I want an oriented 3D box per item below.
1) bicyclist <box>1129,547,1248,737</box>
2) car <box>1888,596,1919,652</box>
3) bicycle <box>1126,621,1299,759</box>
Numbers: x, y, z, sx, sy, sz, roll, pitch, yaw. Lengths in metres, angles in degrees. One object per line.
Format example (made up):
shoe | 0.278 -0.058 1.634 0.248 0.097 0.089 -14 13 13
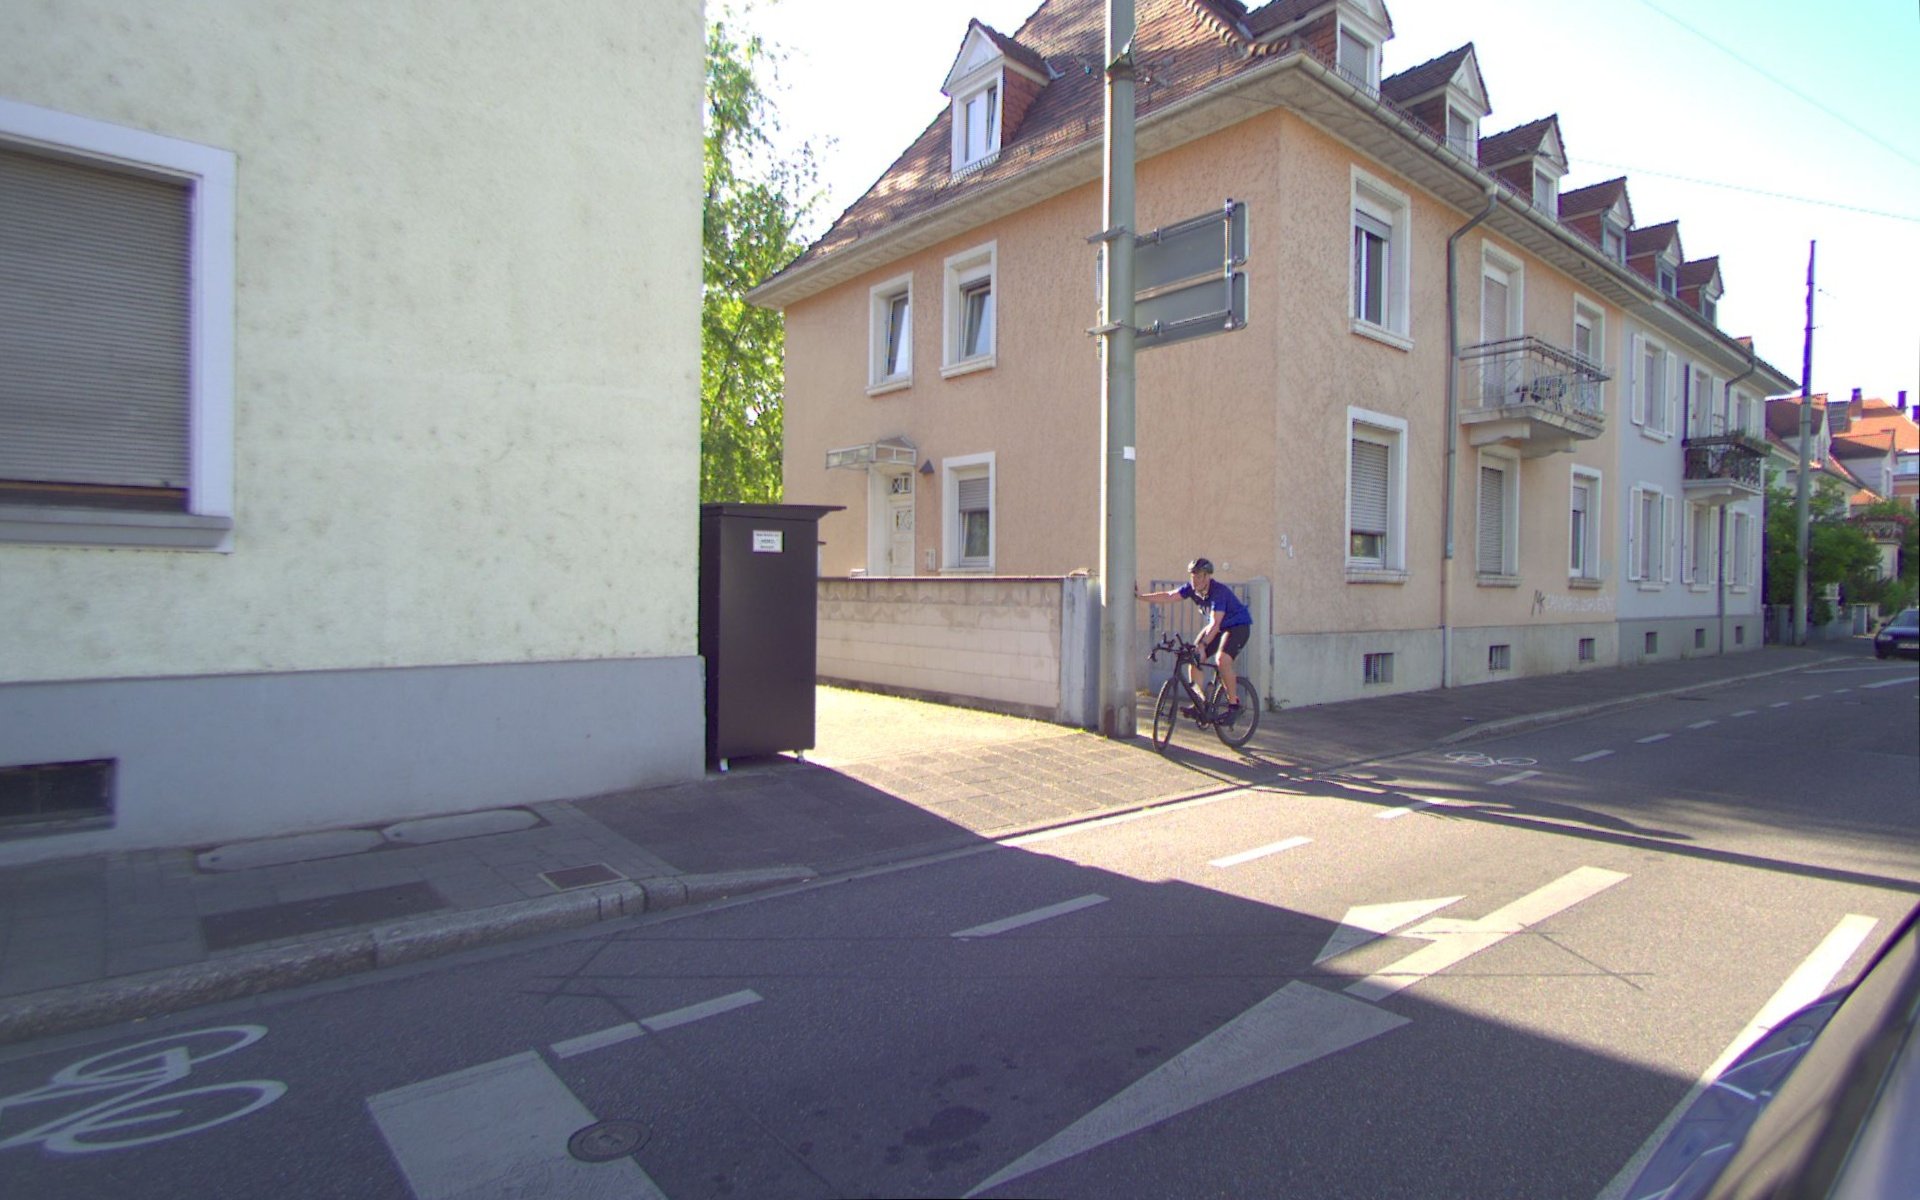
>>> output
bicyclist | 2.102 0.356 9.277 0.998 1.637 0.562 0 1 -40
car | 26.710 0.628 27.396 4.347 1.425 1.866 0 1 -41
bicycle | 2.364 0.785 9.370 1.763 1.074 0.551 0 6 -41
